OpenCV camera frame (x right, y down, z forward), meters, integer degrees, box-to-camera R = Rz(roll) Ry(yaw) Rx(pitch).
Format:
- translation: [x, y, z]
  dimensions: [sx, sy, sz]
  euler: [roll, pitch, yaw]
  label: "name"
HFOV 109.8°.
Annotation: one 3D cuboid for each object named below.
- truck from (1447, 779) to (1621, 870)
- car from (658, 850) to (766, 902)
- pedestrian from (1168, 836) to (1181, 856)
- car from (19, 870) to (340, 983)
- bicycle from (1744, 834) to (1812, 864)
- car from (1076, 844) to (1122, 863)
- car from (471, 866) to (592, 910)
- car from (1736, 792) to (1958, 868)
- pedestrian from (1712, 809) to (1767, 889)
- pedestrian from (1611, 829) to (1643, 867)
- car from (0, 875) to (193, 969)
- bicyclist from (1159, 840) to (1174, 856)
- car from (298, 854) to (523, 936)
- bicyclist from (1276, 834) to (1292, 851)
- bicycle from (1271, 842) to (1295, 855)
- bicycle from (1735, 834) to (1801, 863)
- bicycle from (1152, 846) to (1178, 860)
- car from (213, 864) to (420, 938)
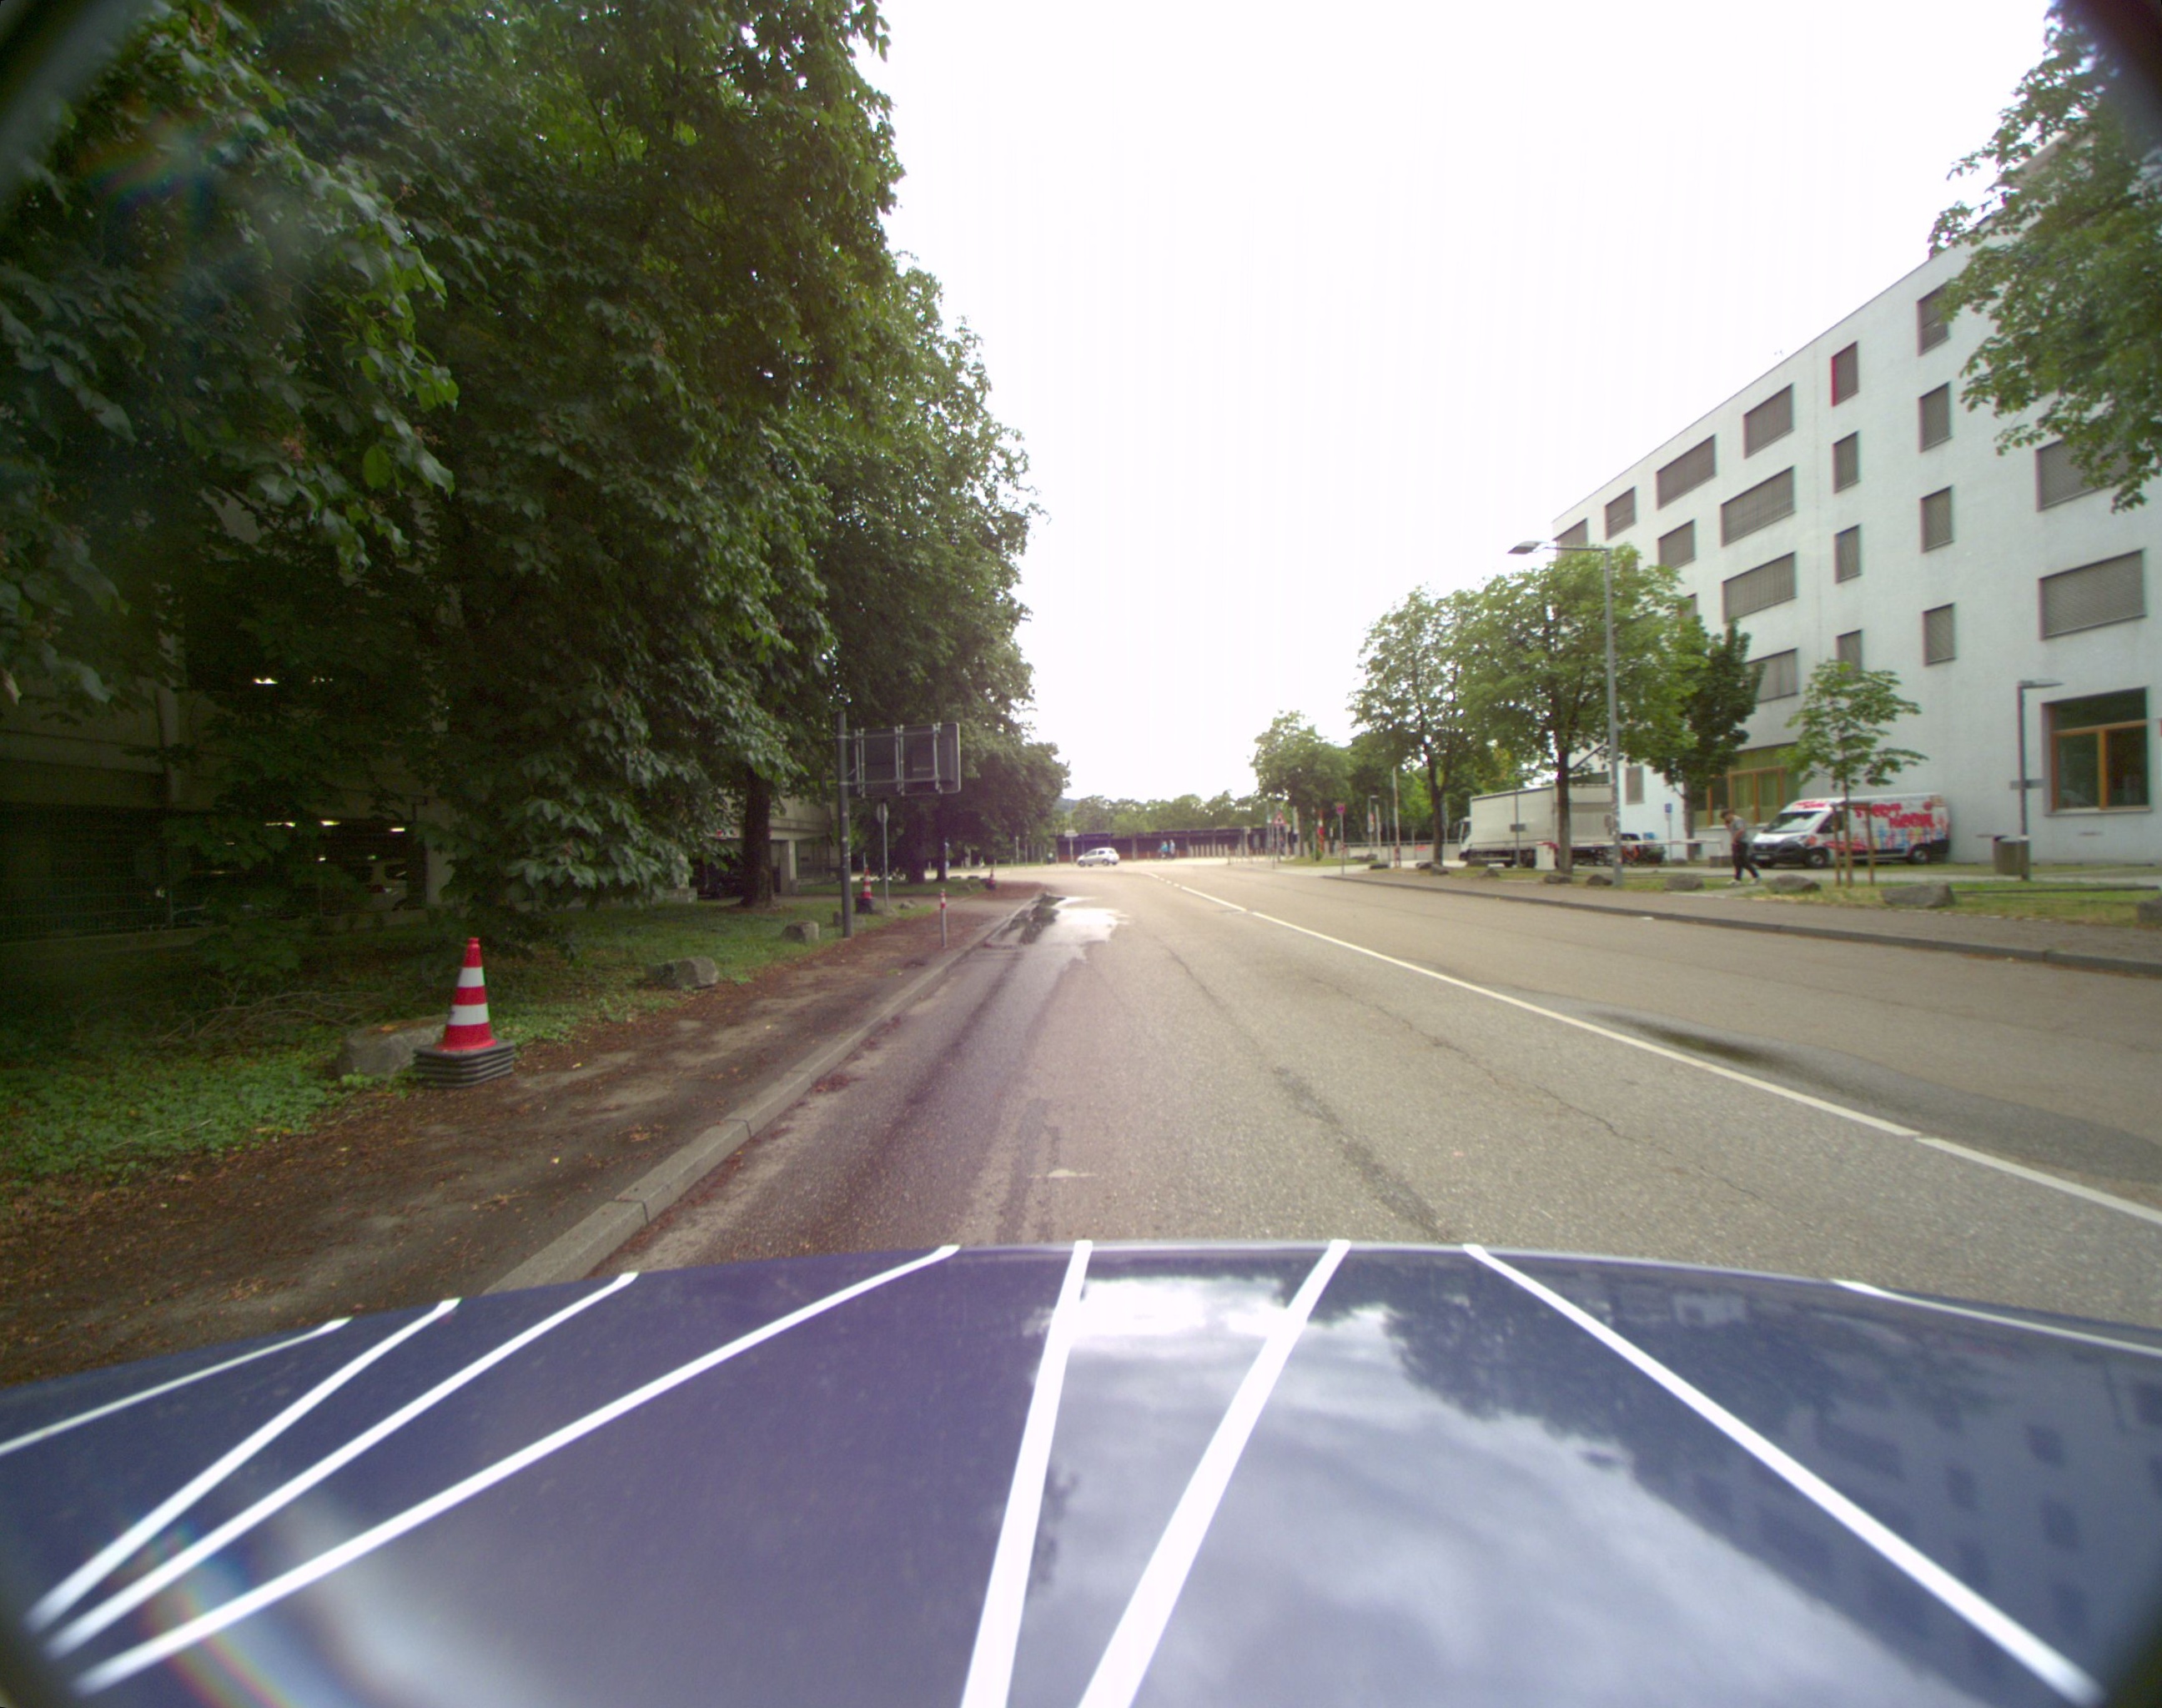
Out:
- translation: [20.384, -1.300, 34.980]
  dimensions: [2.684, 3.580, 8.361]
  euler: [-3, 2, -2]
  label: "truck"
- translation: [-14.636, 0.811, 30.474]
  dimensions: [1.924, 1.824, 4.735]
  euler: [-3, 0, 0]
  label: "car"
- translation: [8.955, -0.784, 72.807]
  dimensions: [1.200, 1.824, 0.927]
  euler: [-3, 3, 4]
  label: "pedestrian"
- translation: [-17.437, 1.301, 15.047]
  dimensions: [1.589, 1.699, 3.856]
  euler: [-3, 2, 1]
  label: "car"
- translation: [27.459, -0.196, 29.934]
  dimensions: [2.029, 1.064, 0.614]
  euler: [-3, 2, 4]
  label: "bicycle"
- translation: [1.543, -0.072, 64.756]
  dimensions: [3.494, 1.448, 1.609]
  euler: [-2, 2, 29]
  label: "car"
- translation: [-22.676, 1.375, 31.582]
  dimensions: [1.876, 1.445, 4.000]
  euler: [-3, 2, 4]
  label: "car"
- translation: [26.616, -0.833, 26.546]
  dimensions: [5.640, 2.266, 2.078]
  euler: [-3, 2, 0]
  label: "car"
- translation: [14.185, -0.108, 16.372]
  dimensions: [0.843, 1.662, 0.788]
  euler: [-1, 3, 43]
  label: "pedestrian"
- translation: [23.443, -0.269, 32.633]
  dimensions: [0.679, 1.597, 0.887]
  euler: [-3, 2, -7]
  label: "pedestrian"
- translation: [-20.360, 1.325, 14.780]
  dimensions: [1.721, 1.537, 3.700]
  euler: [-3, 2, -1]
  label: "car"
- translation: [7.735, -0.528, 68.787]
  dimensions: [1.159, 1.422, 0.742]
  euler: [-3, 2, -3]
  label: "bicyclist"
- translation: [-17.235, 0.948, 19.919]
  dimensions: [1.589, 1.699, 4.666]
  euler: [-3, 2, 1]
  label: "car"
- translation: [18.736, -1.101, 70.281]
  dimensions: [1.101, 1.487, 0.926]
  euler: [-3, 3, -9]
  label: "bicyclist"
- translation: [18.690, -0.505, 70.301]
  dimensions: [2.051, 1.137, 0.777]
  euler: [-3, 3, -9]
  label: "bicycle"
- translation: [27.639, -0.222, 30.581]
  dimensions: [2.029, 1.064, 0.614]
  euler: [-3, 2, 4]
  label: "bicycle"
- translation: [7.613, -0.121, 68.798]
  dimensions: [2.257, 1.117, 0.748]
  euler: [-3, 2, -3]
  label: "bicycle"
- translation: [-20.249, 1.184, 20.377]
  dimensions: [1.721, 1.577, 3.690]
  euler: [-3, 2, -1]
  label: "car"
